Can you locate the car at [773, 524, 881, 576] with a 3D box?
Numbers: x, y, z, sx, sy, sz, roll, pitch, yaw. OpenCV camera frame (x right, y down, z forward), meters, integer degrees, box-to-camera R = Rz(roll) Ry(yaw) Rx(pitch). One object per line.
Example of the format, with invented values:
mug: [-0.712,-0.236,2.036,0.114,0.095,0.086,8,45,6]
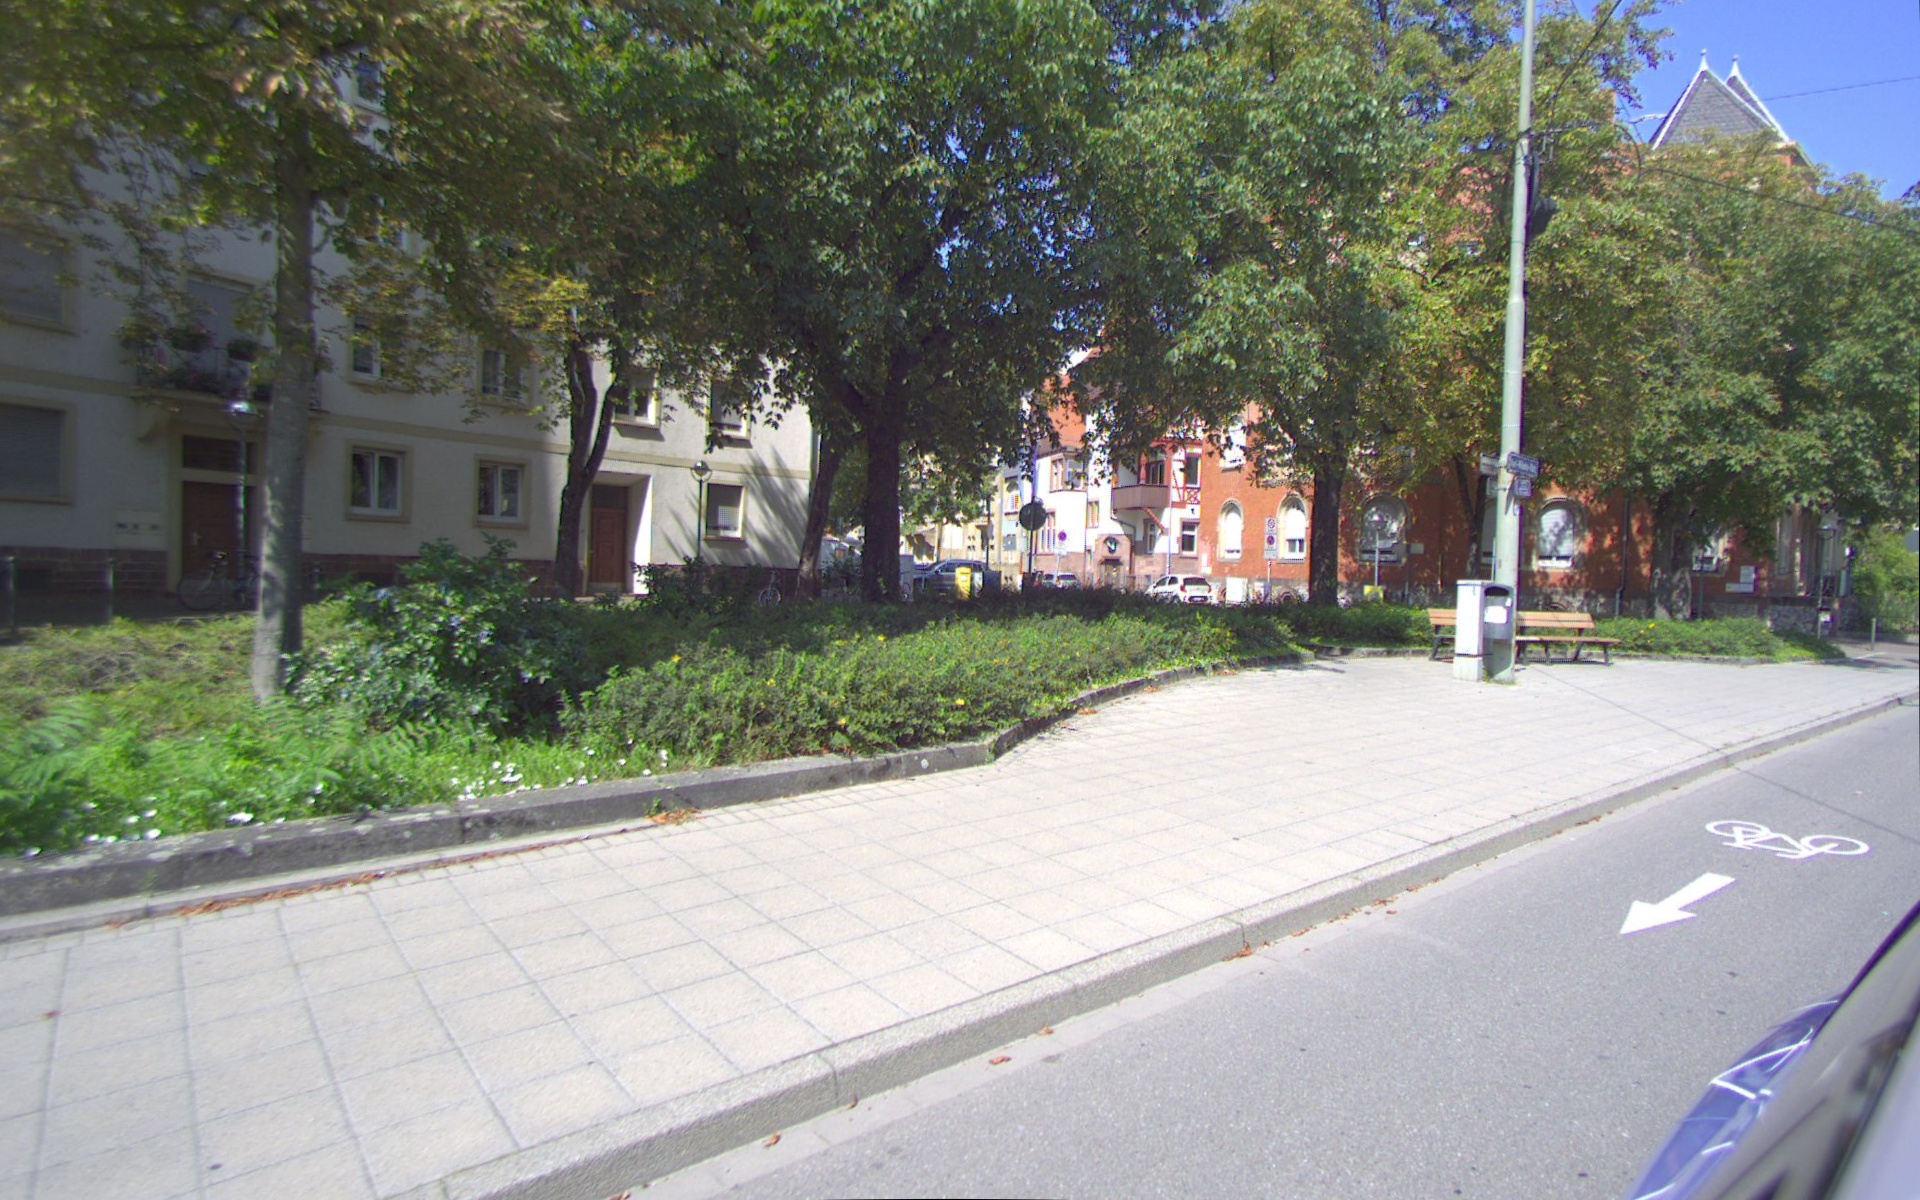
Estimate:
car: [-8.270,-3.073,63.110,6.349,3.013,1.808,1,2,-22]

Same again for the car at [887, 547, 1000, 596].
car: [-0.710,-1.180,41.947,4.323,1.834,1.808,1,2,-13]

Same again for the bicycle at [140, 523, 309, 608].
bicycle: [-13.216,-0.608,18.266,0.886,1.427,2.322,1,1,37]

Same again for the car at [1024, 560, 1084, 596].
car: [5.179,-1.264,56.187,1.766,1.834,4.427,1,2,-16]

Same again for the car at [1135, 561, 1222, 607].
car: [9.412,-0.740,44.007,1.766,1.834,4.427,1,2,-16]

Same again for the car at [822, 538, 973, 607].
car: [-1.916,-0.842,30.240,4.326,1.833,1.808,2,3,-8]

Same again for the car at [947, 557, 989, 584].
car: [0.524,-2.135,71.943,1.766,1.834,4.427,1,2,-16]

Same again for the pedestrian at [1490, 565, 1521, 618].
pedestrian: [19.843,-0.319,36.837,0.665,1.908,0.920,2,2,10]
